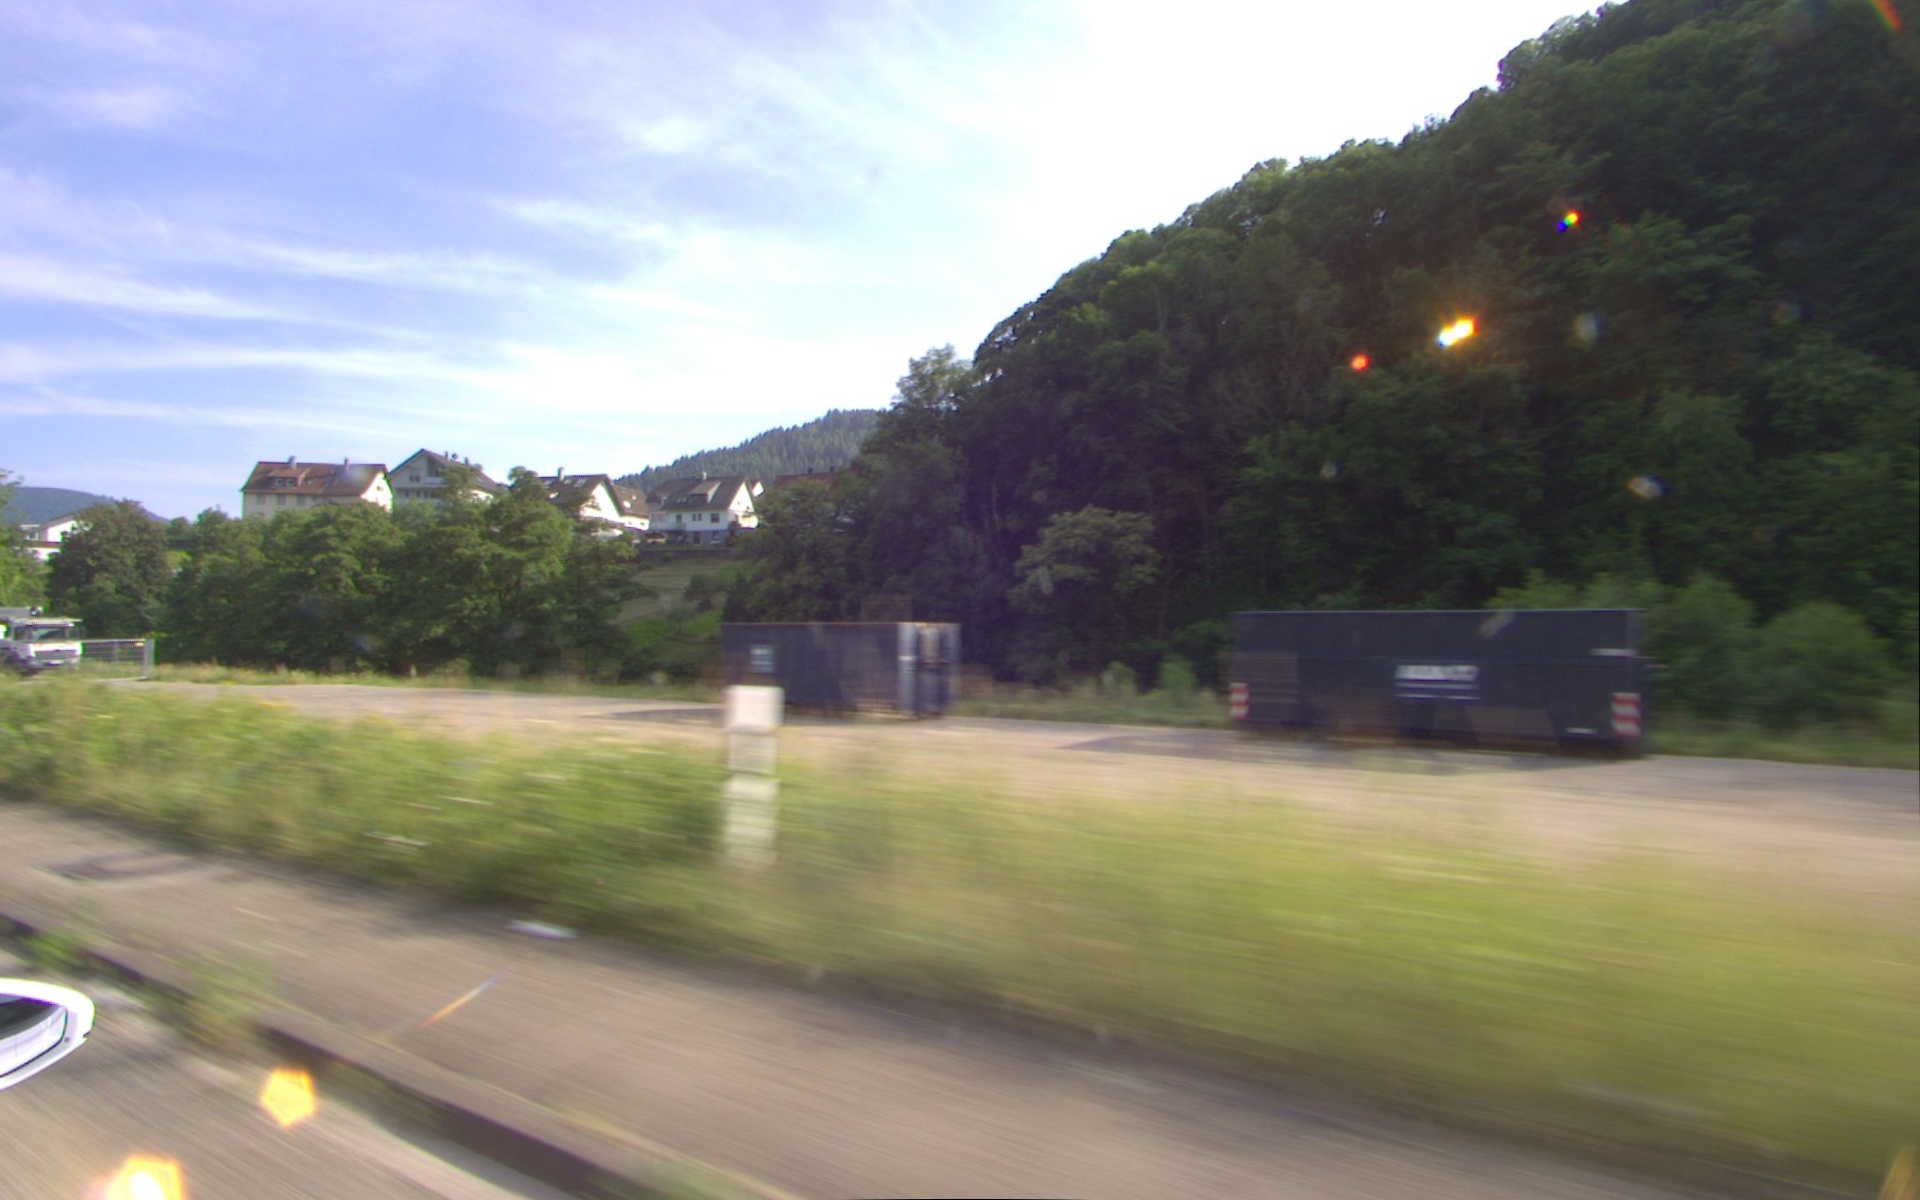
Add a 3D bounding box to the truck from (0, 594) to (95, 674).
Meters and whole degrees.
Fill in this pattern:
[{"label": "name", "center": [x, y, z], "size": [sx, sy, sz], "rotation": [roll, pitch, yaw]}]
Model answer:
[{"label": "truck", "center": [-48.645, 1.770, 51.647], "size": [8.510, 3.828, 3.104], "rotation": [0, -4, 28]}]
